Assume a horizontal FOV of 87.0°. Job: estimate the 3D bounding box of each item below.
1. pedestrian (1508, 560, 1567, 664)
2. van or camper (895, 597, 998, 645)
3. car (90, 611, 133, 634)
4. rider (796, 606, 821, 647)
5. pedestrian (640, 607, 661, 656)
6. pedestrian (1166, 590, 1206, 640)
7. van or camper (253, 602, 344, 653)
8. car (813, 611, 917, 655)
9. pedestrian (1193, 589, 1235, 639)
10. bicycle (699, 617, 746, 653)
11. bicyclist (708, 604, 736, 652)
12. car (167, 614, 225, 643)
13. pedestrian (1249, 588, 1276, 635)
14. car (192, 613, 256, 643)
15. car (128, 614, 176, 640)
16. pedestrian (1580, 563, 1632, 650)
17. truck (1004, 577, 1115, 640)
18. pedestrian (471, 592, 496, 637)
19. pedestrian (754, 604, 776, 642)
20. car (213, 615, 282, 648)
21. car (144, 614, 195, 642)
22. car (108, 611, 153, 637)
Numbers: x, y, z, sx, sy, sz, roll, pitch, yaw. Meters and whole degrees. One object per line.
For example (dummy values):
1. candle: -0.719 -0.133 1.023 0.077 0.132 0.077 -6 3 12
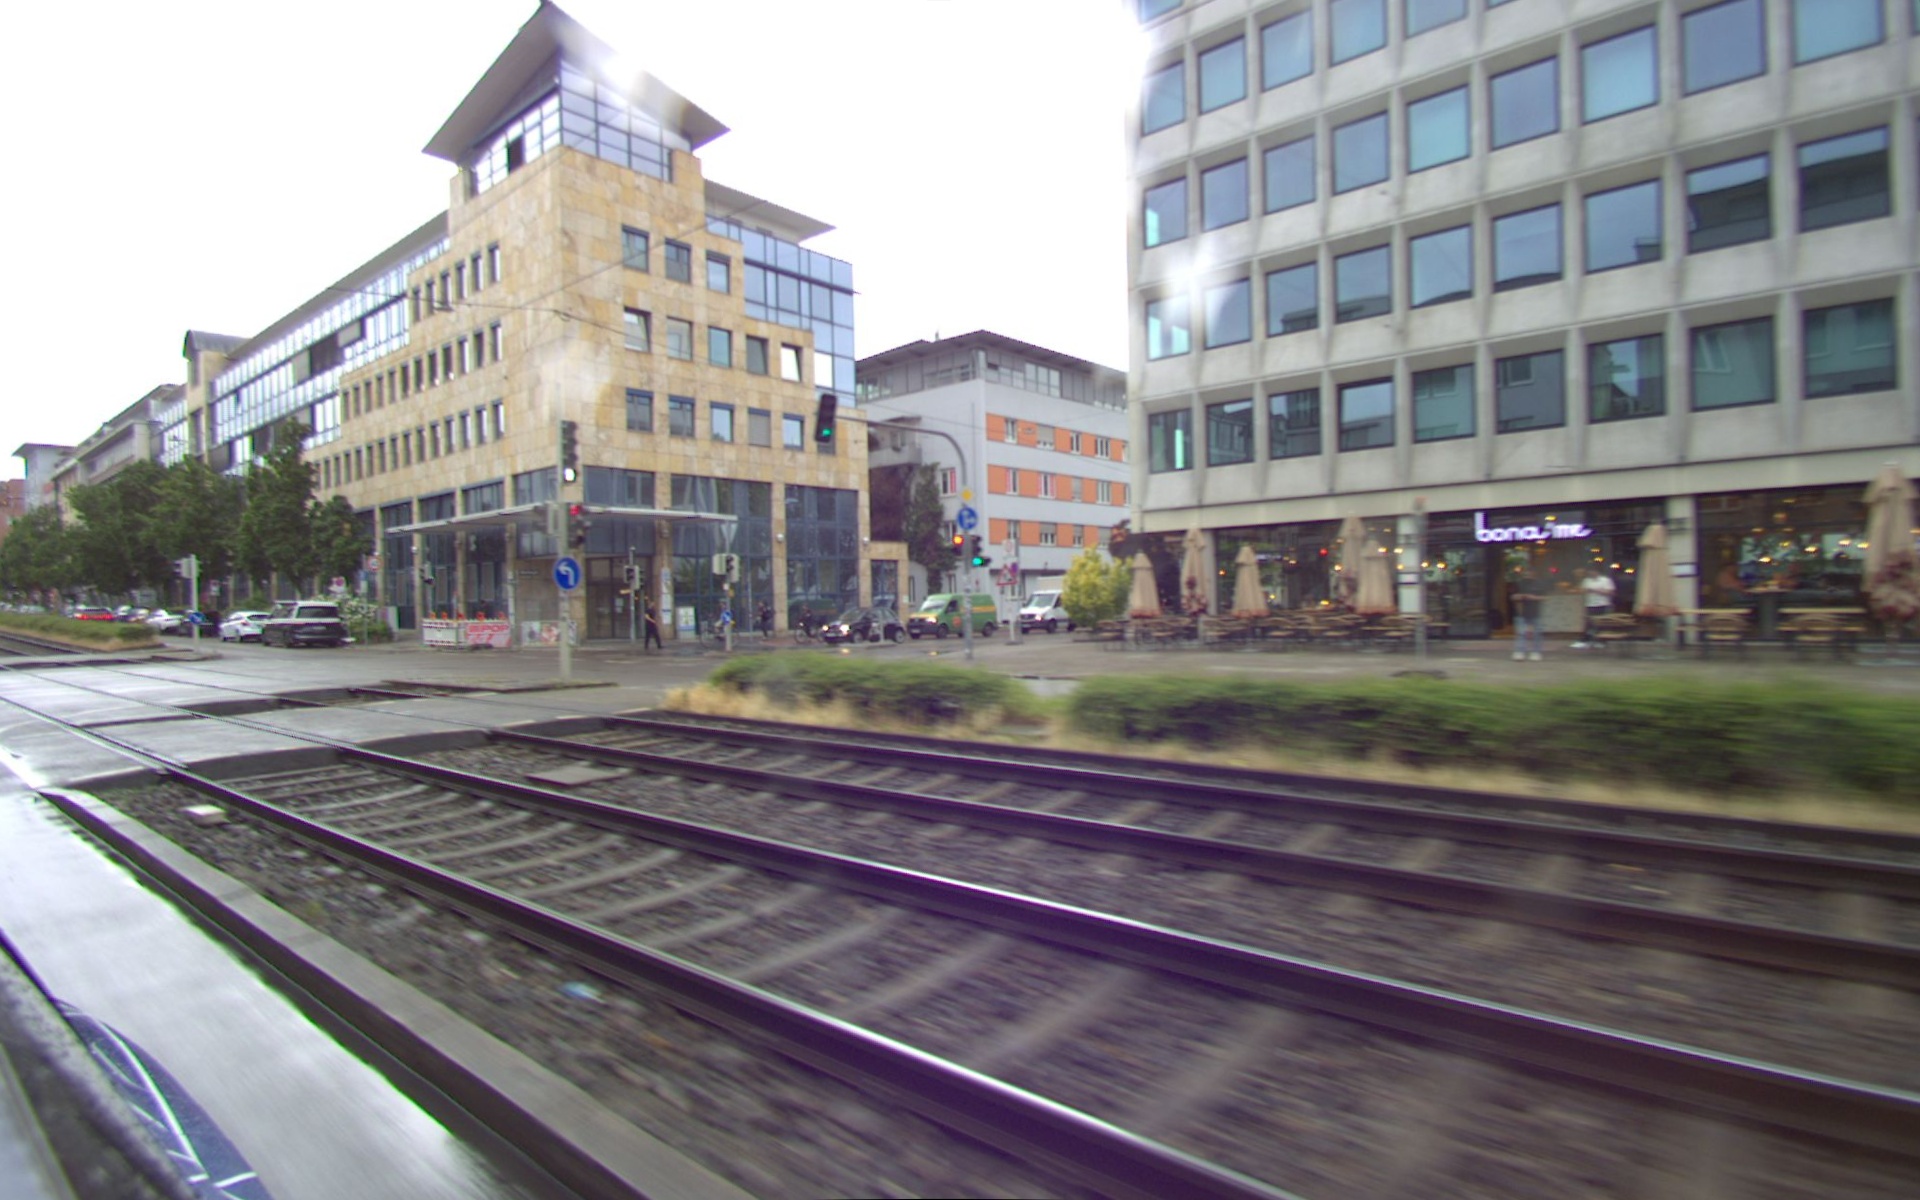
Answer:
1. pedestrian: 10.491 0.211 18.390 0.843 1.836 0.559 -1 0 37
2. van or camper: -0.581 0.969 47.769 2.095 2.077 5.031 -1 0 40
3. car: -59.183 1.539 70.583 4.620 1.552 1.632 0 0 42
4. rider: -6.456 1.128 43.116 0.783 1.688 0.701 -2 0 41
5. pedestrian: -11.502 1.150 37.591 0.667 1.794 0.705 -1 0 -14
6. pedestrian: 7.197 0.483 32.214 0.896 1.544 0.952 -1 0 41
7. van or camper: -28.597 1.122 43.688 5.195 2.012 1.996 1 1 41
8. car: -3.691 1.263 39.908 1.888 1.541 3.949 -1 0 38
9. pedestrian: 7.916 0.435 31.555 0.964 1.544 0.885 -1 0 39
10. bicycle: -9.256 1.360 39.492 0.659 1.321 1.746 -1 0 40
11. bicyclist: -9.272 1.090 39.475 0.783 1.818 0.701 -2 0 41
12. car: -42.043 1.553 55.656 3.996 1.497 1.672 -1 0 40
13. pedestrian: 8.773 0.327 29.366 0.553 1.332 0.517 -1 0 42
14. car: -38.368 1.444 52.740 4.291 1.497 1.672 -1 0 39
15. car: -49.804 1.665 62.343 4.291 1.509 1.632 0 0 42
16. pedestrian: 13.318 0.131 20.876 0.843 1.762 0.559 -1 0 37
17. truck: 5.480 0.411 54.720 2.459 3.188 7.078 -1 0 39
18. pedestrian: -19.753 0.613 41.962 0.679 1.828 0.693 -2 0 43
19. pedestrian: -8.674 1.025 45.017 0.703 1.648 0.573 -2 0 42
20. car: -34.335 1.493 48.708 4.252 1.497 1.672 -1 0 40
21. car: -45.877 1.607 58.727 4.191 1.509 1.632 0 0 42
22. car: -54.085 1.554 65.996 4.291 1.613 1.632 0 0 42
